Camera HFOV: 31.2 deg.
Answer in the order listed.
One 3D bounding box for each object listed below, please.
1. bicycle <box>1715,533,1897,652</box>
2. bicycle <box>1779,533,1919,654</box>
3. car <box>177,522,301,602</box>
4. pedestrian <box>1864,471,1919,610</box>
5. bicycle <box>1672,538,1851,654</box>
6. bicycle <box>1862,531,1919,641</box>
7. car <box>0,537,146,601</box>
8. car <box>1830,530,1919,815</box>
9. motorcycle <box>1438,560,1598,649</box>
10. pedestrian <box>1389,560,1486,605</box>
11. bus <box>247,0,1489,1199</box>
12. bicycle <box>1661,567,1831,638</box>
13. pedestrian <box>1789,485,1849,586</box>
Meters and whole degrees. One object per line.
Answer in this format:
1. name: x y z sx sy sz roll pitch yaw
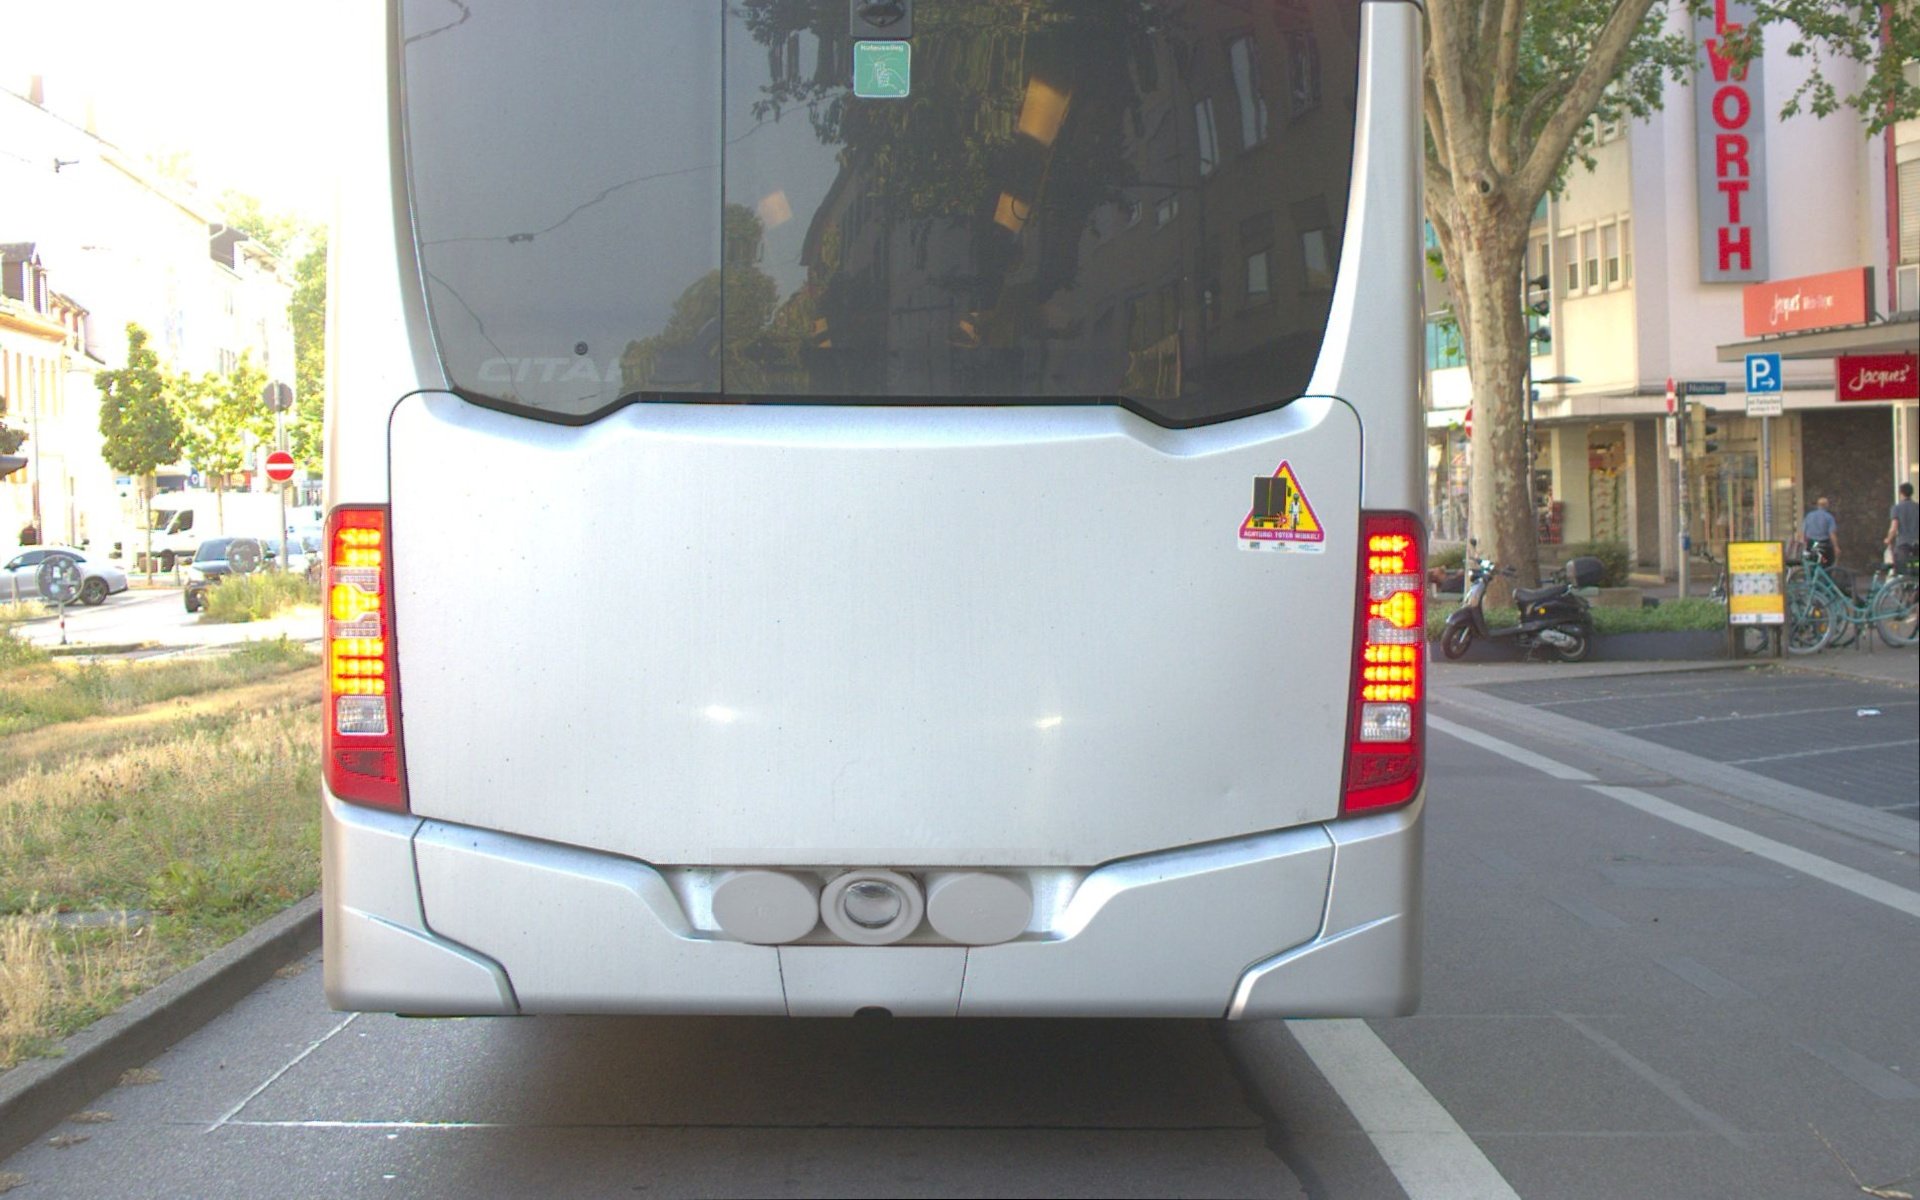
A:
1. bicycle: 9.472 -0.087 38.495 1.785 1.185 0.672 -4 1 -8
2. bicycle: 9.965 -0.086 37.024 2.081 1.228 0.831 -2 1 5
3. car: -14.999 -0.810 71.680 1.722 1.504 3.476 -4 1 1
4. pedestrian: 12.281 -0.781 44.790 0.780 1.787 0.764 -1 1 0
5. bicycle: 9.199 -0.052 39.506 1.877 1.185 0.711 -4 1 8
6. bicycle: 10.785 -0.184 37.410 1.765 1.150 0.678 -3 1 9
7. car: -21.747 -0.731 80.976 4.538 1.407 2.000 -2 2 -36
8. car: 6.751 0.306 18.505 4.165 1.446 1.809 -2 2 -38
9. motorcycle: 5.881 0.044 36.264 1.570 0.889 0.544 -2 1 -3
10. pedestrian: 6.555 -0.238 47.202 1.254 0.587 0.482 -1 1 -2
11. bus: -0.161 -0.286 10.995 2.678 3.072 7.114 0 2 1
12. bicycle: 9.226 0.027 40.391 1.877 0.762 0.711 -1 3 8
13. pedestrian: 14.676 -1.109 58.736 0.747 1.673 0.835 -1 3 -6
